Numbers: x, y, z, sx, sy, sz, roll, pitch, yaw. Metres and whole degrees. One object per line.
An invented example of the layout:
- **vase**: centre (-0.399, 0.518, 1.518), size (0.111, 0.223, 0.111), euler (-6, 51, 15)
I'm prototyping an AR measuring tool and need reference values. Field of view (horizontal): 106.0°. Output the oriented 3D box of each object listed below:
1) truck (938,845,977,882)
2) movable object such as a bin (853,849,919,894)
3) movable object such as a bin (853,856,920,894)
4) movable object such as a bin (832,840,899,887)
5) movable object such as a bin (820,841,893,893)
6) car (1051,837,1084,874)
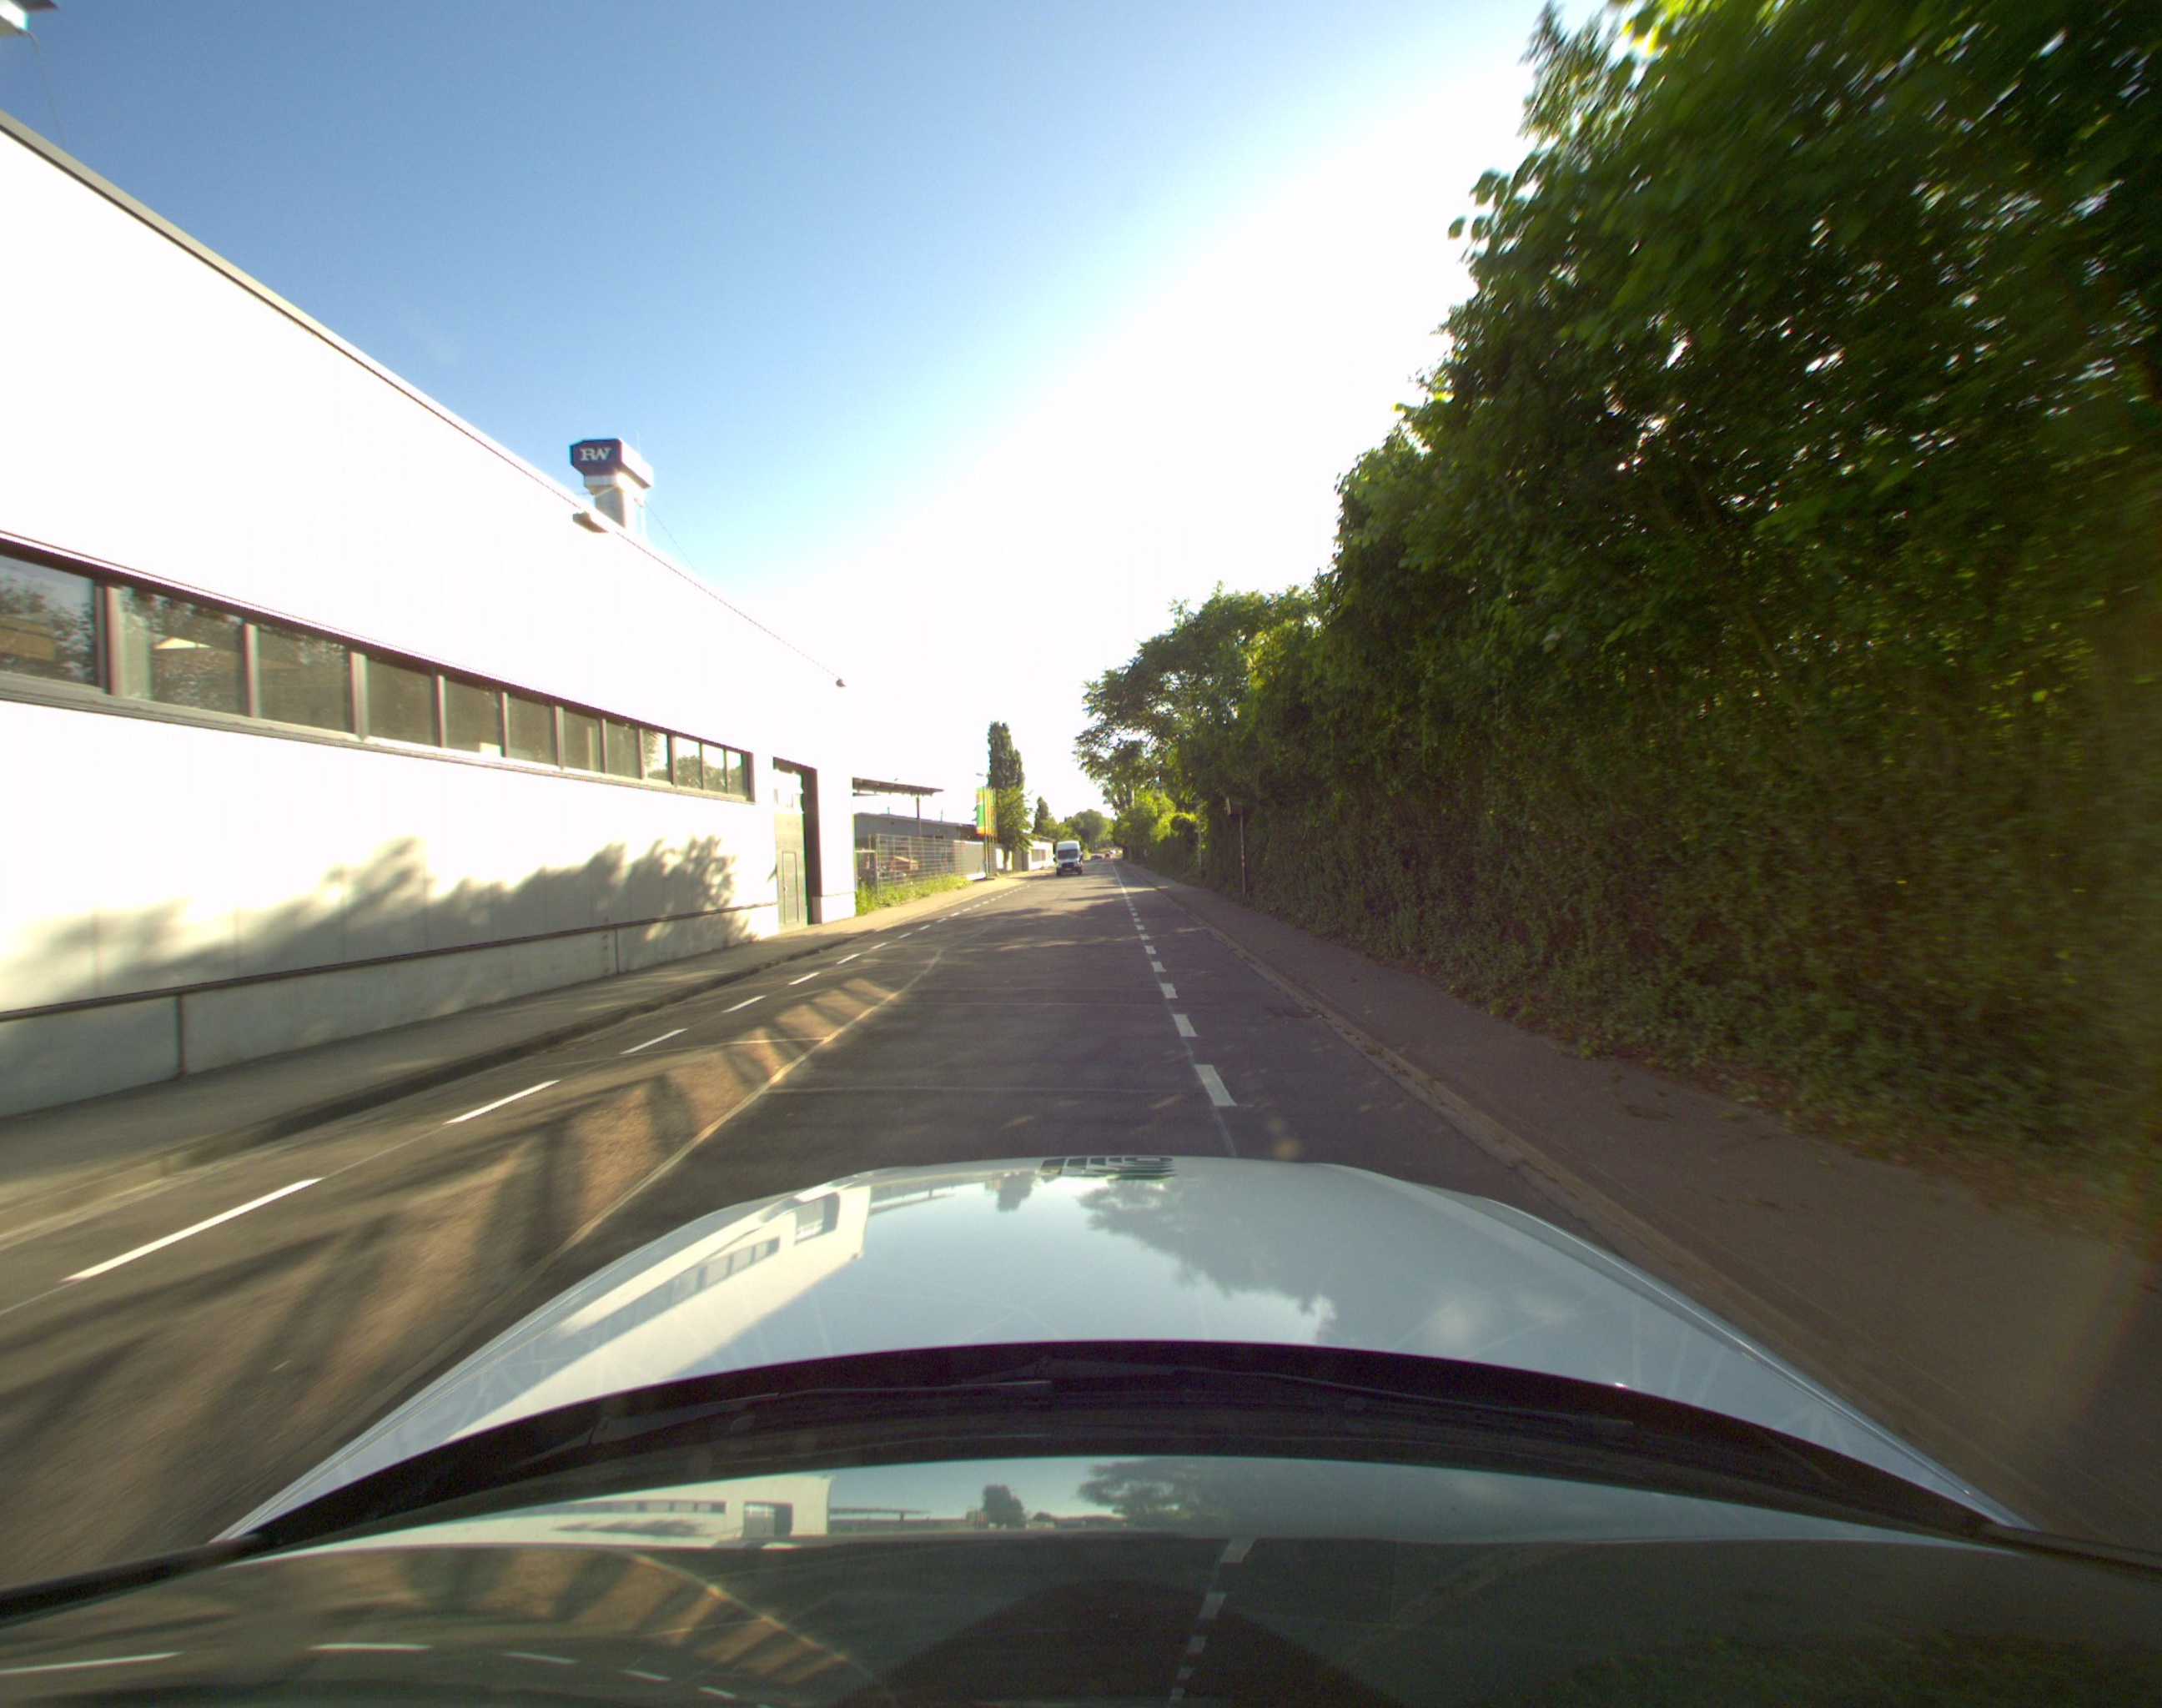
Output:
- **truck**: centre (-9.960, 0.720, 65.983), size (2.071, 2.761, 5.766), euler (-2, 0, 1)
- **movable object such as a bin**: centre (-9.653, 0.856, 40.304), size (2.853, 2.149, 1.509), euler (-2, 0, 28)
- **movable object such as a bin**: centre (-10.054, 1.063, 42.207), size (3.029, 1.835, 1.525), euler (-2, 0, -1)
- **movable object such as a bin**: centre (-10.249, 0.454, 38.754), size (2.765, 2.126, 1.393), euler (-2, 0, 27)
- **movable object such as a bin**: centre (-9.845, 0.558, 35.702), size (2.737, 2.165, 1.533), euler (-2, 0, 31)
- **car**: centre (-1.085, 0.170, 67.464), size (2.114, 2.780, 5.930), euler (-4, -1, 3)
